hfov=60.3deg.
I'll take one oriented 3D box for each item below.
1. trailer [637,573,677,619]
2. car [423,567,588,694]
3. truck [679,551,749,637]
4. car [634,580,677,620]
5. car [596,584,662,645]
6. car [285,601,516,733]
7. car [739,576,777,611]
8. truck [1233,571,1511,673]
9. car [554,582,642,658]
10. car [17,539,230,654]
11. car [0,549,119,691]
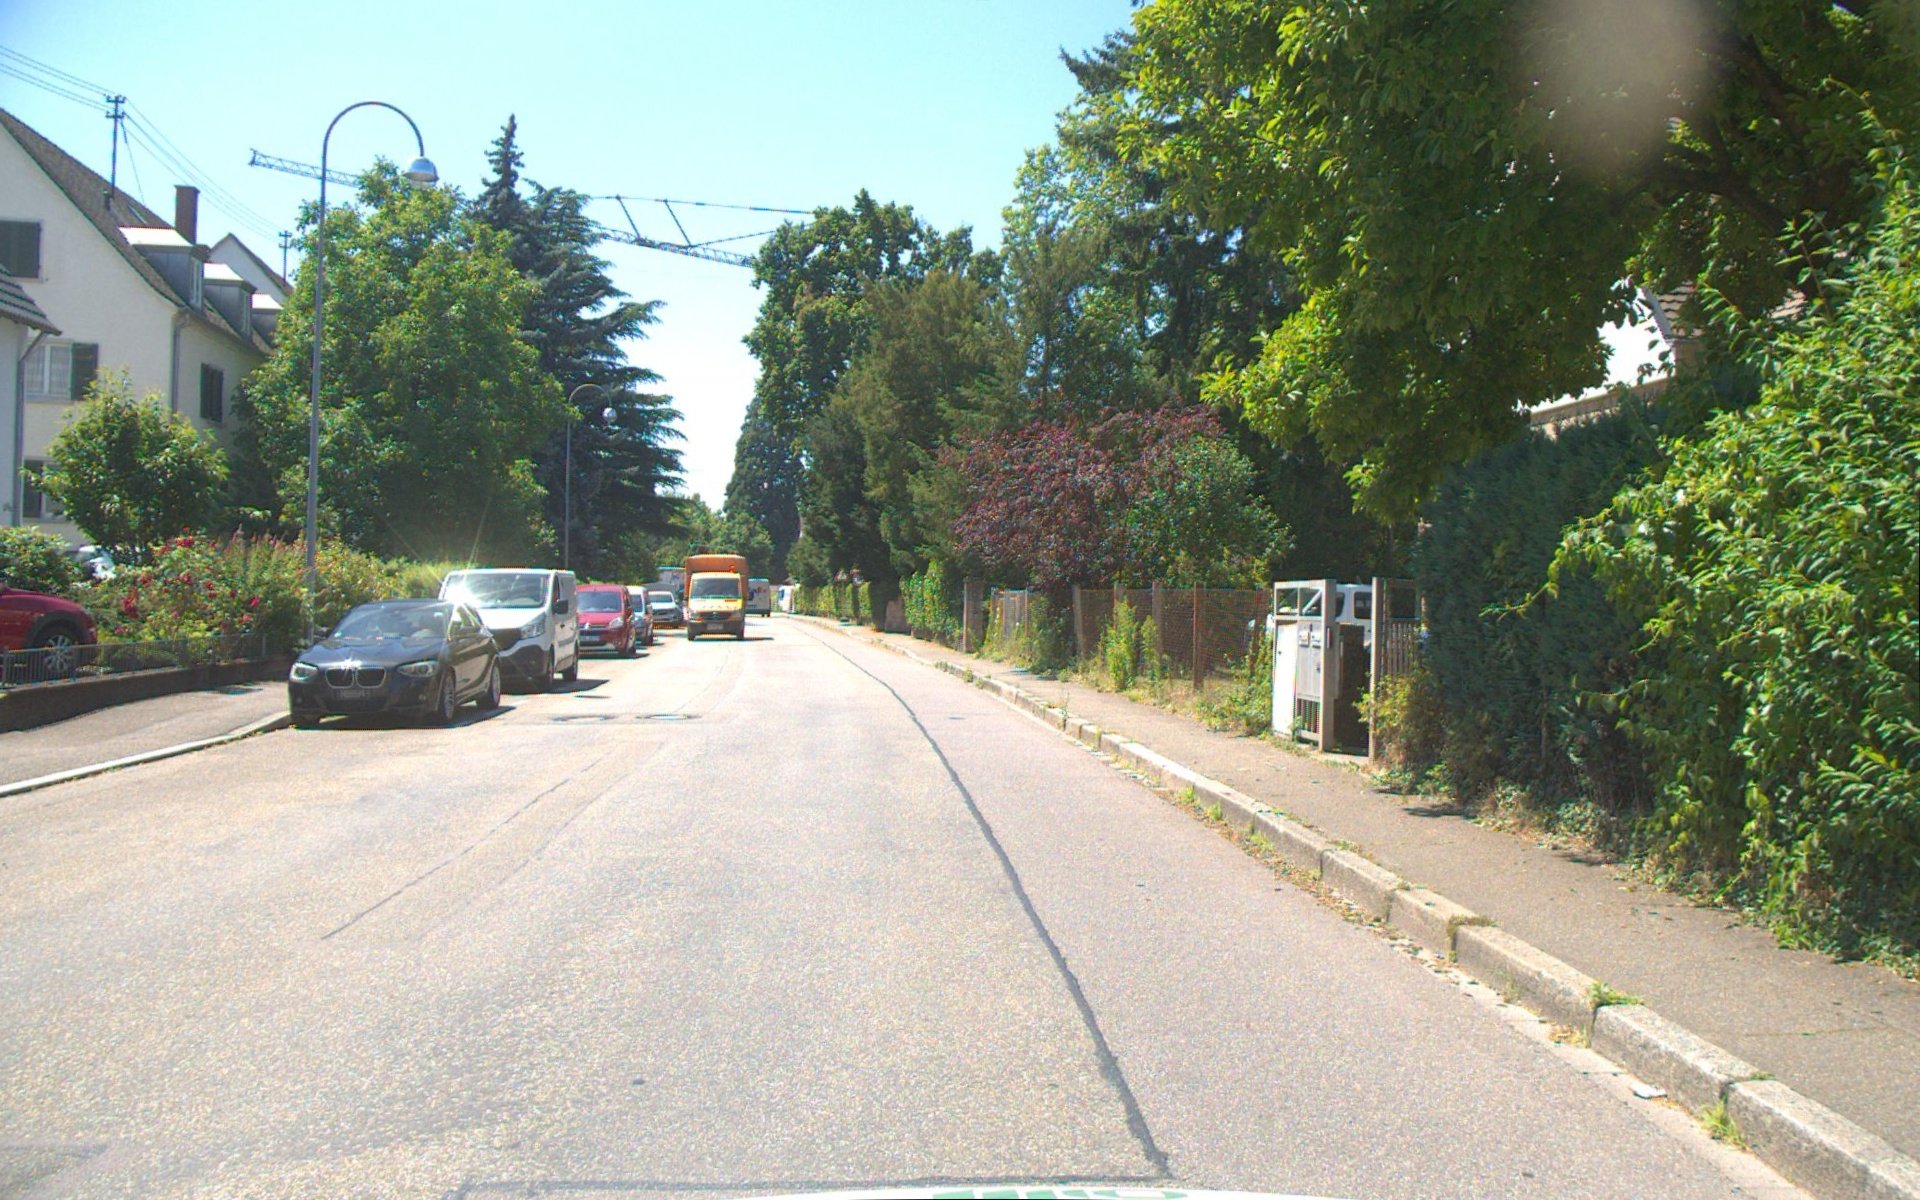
[{"bbox_3d":[-14.530,-0.193,79.365,1.814,2.076,4.153,-1,0,-10],"label":"trailer"},{"bbox_3d":[-7.444,0.469,27.558,1.850,1.914,4.974,0,0,-6],"label":"car"},{"bbox_3d":[-8.647,-0.205,58.239,2.329,2.879,5.648,0,0,-8],"label":"truck"},{"bbox_3d":[-13.778,0.006,75.000,1.817,1.700,4.701,-1,0,-10],"label":"car"},{"bbox_3d":[-10.212,0.425,51.251,1.616,1.782,4.348,0,0,-7],"label":"car"},{"bbox_3d":[-6.708,0.737,20.272,1.665,1.408,4.231,-1,0,-5],"label":"car"},{"bbox_3d":[-14.181,-0.458,115.857,2.107,2.356,4.835,-1,1,-14],"label":"car"},{"bbox_3d":[10.325,0.543,41.604,6.491,2.205,1.975,3,1,-10],"label":"truck"},{"bbox_3d":[-8.899,0.456,40.902,1.724,1.757,4.450,-1,0,-8],"label":"car"},{"bbox_3d":[-15.243,-0.043,30.401,1.679,1.903,4.001,3,0,2],"label":"car"},{"bbox_3d":[-11.965,0.241,18.956,1.609,1.537,4.113,4,3,21],"label":"car"}]
